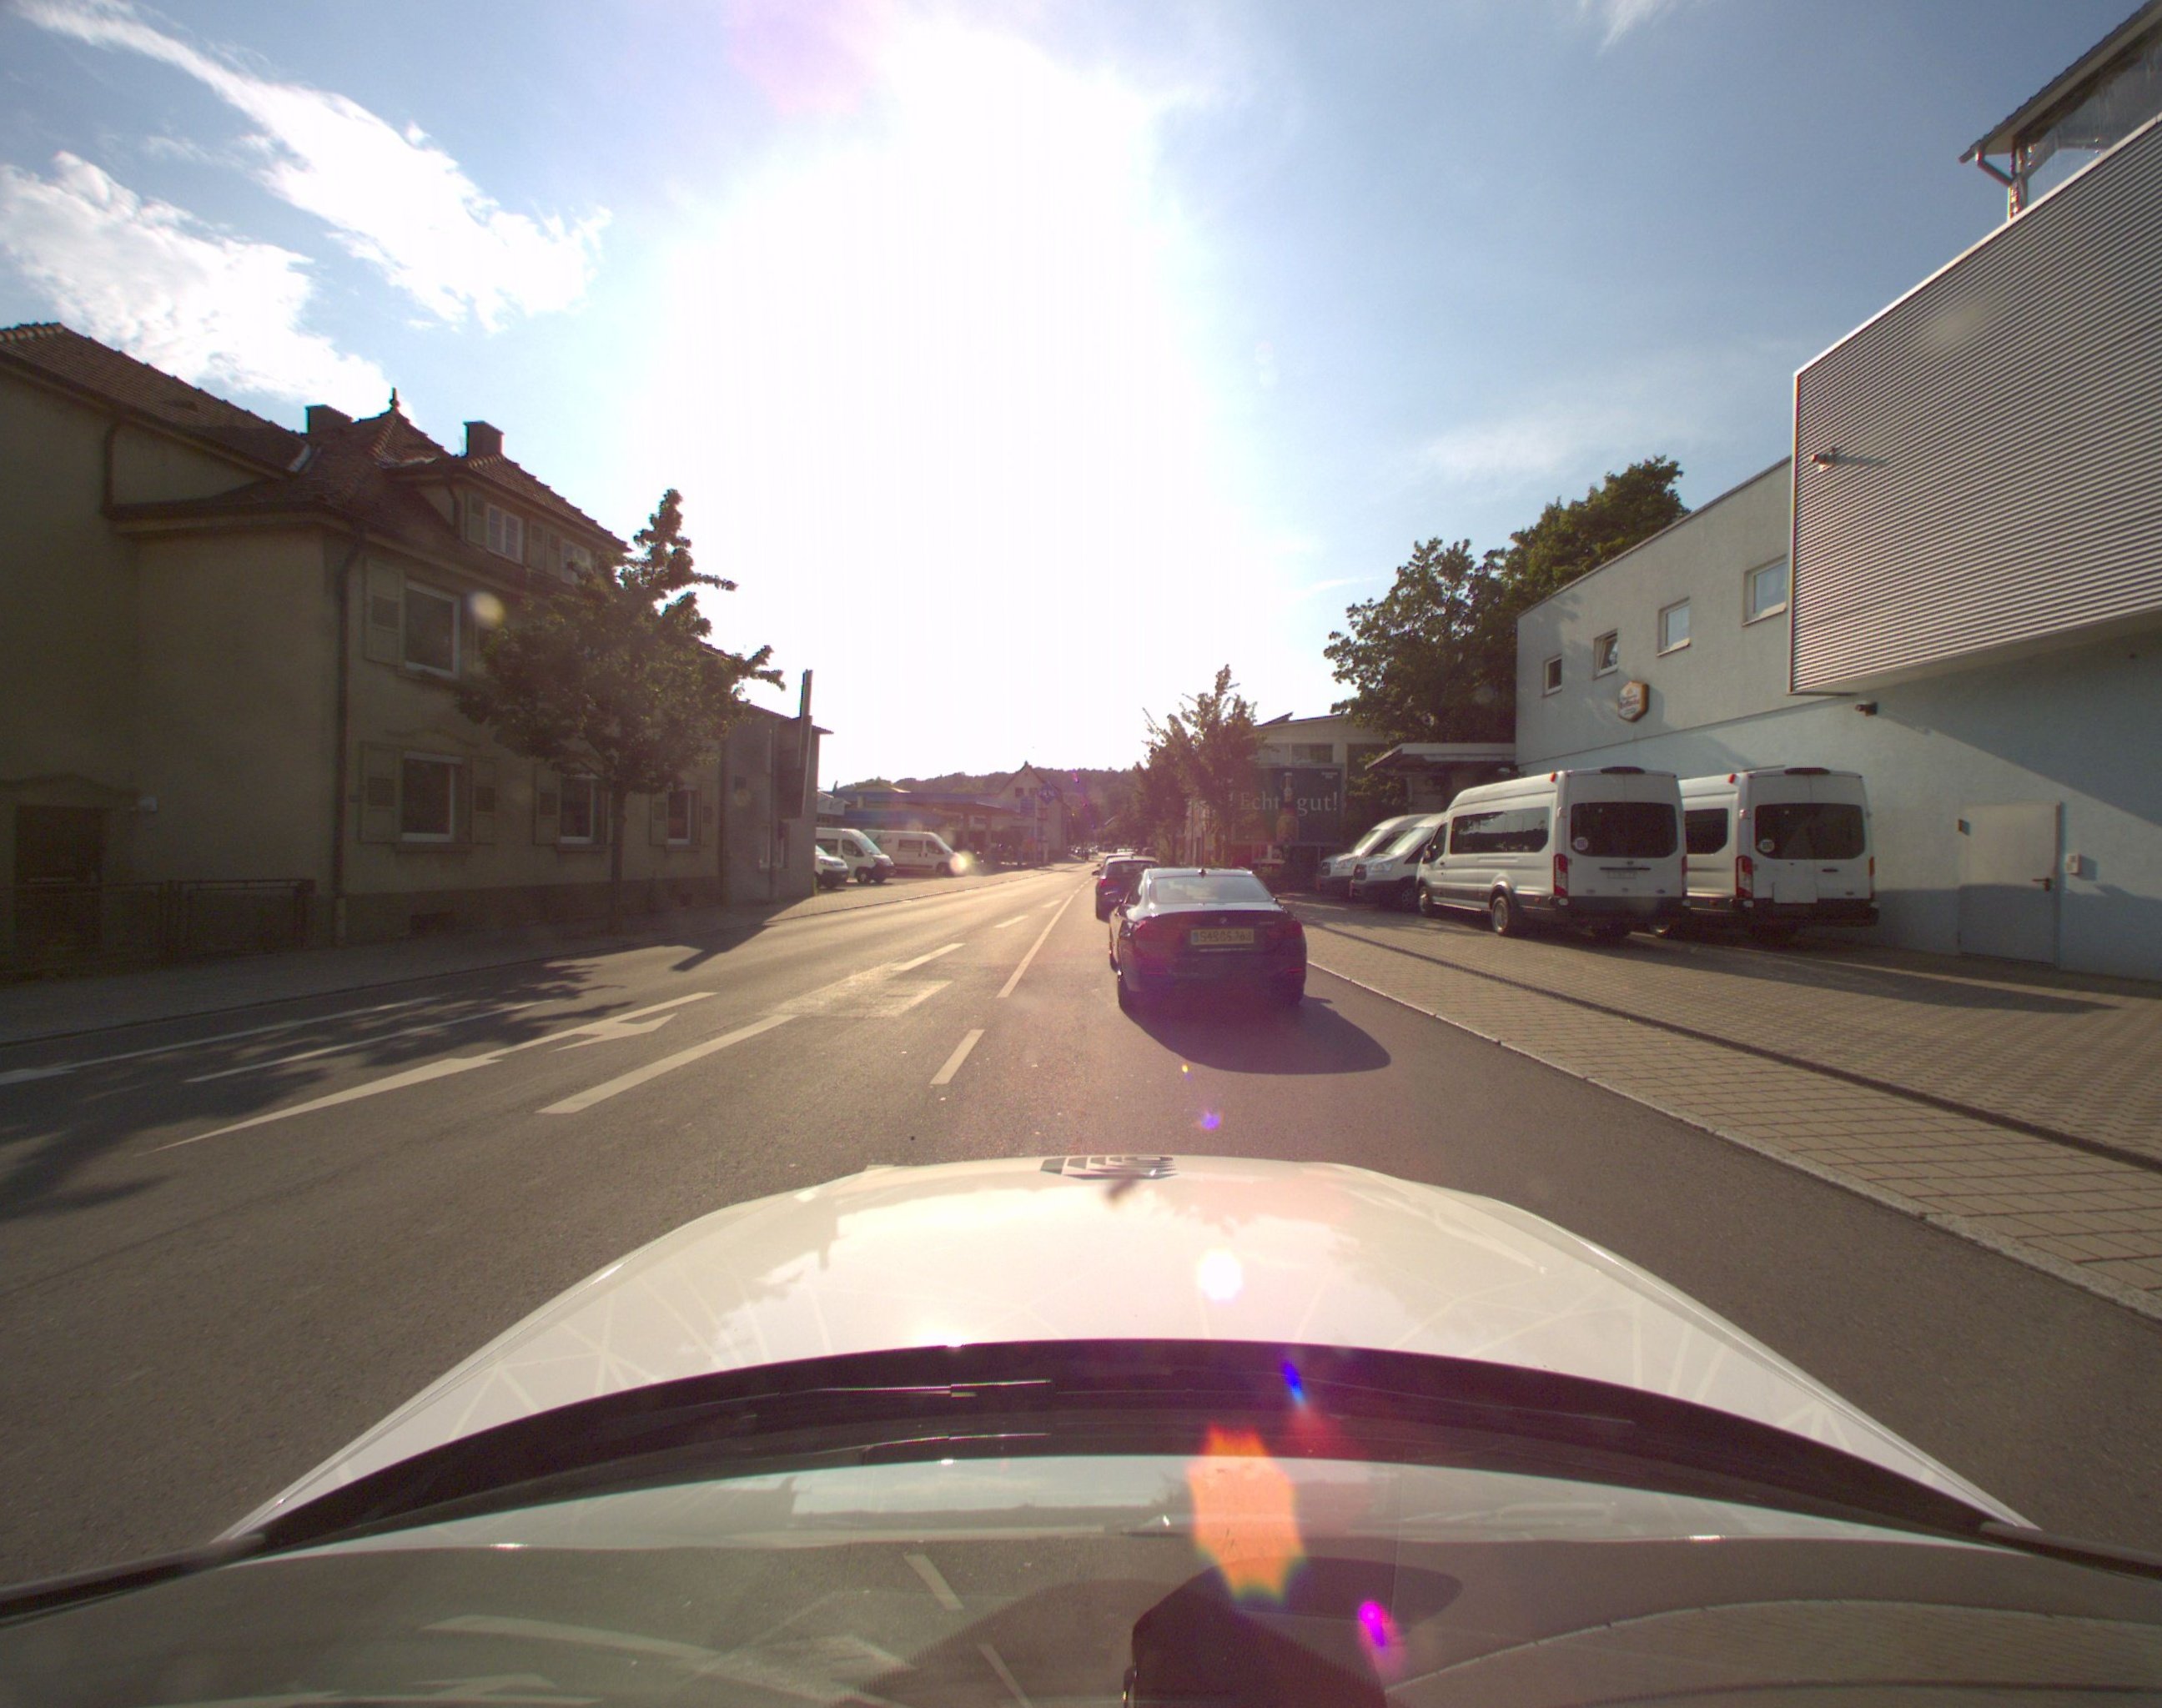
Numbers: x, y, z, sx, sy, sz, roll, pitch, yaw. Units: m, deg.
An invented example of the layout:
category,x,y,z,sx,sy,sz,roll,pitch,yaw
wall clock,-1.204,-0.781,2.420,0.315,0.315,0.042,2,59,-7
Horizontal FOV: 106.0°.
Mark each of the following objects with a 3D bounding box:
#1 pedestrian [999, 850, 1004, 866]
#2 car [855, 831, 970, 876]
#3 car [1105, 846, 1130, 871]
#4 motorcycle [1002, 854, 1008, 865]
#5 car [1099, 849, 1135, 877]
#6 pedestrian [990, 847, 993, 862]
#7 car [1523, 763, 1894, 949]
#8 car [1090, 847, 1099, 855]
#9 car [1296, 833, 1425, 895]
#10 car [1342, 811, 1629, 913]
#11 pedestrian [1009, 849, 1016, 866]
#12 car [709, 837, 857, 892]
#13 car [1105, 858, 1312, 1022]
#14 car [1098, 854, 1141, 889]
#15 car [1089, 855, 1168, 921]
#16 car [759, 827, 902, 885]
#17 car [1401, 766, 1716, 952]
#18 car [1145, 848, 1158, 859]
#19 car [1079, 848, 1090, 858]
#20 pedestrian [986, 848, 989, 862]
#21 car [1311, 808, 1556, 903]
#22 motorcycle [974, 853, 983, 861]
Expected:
category,x,y,z,sx,sy,sz,roll,pitch,yaw
pedestrian,-7.658,0.351,78.259,0.406,1.547,0.433,0,0,0
car,-9.707,-0.048,47.290,6.133,2.444,2.251,1,0,3
car,2.660,0.278,59.194,1.595,1.767,3.416,0,1,5
motorcycle,-7.241,0.519,77.794,0.362,0.943,1.696,0,1,2
car,2.193,0.509,48.848,1.581,1.600,3.905,0,1,11
pedestrian,-8.477,0.069,77.476,0.261,1.383,0.288,0,0,-3
car,10.927,-0.006,15.148,2.103,2.721,6.446,0,1,2
car,2.557,-0.525,153.807,1.590,1.485,3.477,1,1,2
car,8.831,0.304,25.923,3.588,1.894,1.586,0,0,0
car,9.685,0.171,19.876,6.023,2.363,2.044,0,0,0
pedestrian,-6.582,0.314,78.108,0.608,1.670,0.442,0,0,0
car,-11.487,0.377,31.575,4.951,1.999,1.938,1,0,5
car,1.199,0.772,9.367,1.694,1.369,4.262,-1,1,0
car,1.703,0.726,35.064,1.746,1.414,3.426,0,1,4
car,1.189,0.771,19.983,1.763,1.456,3.520,0,0,4
car,-11.483,0.069,37.548,5.888,2.480,2.198,1,1,7
car,8.184,0.043,15.044,2.141,2.680,6.606,0,1,2
car,9.683,-0.044,111.991,1.590,1.485,3.477,1,1,2
car,0.563,-0.236,124.874,1.590,1.485,3.477,1,1,2
pedestrian,-8.860,0.085,76.935,0.286,1.366,0.263,0,0,-1
car,9.728,0.028,22.840,6.023,2.516,2.044,0,0,0
motorcycle,-9.876,0.278,78.349,0.456,0.730,1.478,0,1,10
